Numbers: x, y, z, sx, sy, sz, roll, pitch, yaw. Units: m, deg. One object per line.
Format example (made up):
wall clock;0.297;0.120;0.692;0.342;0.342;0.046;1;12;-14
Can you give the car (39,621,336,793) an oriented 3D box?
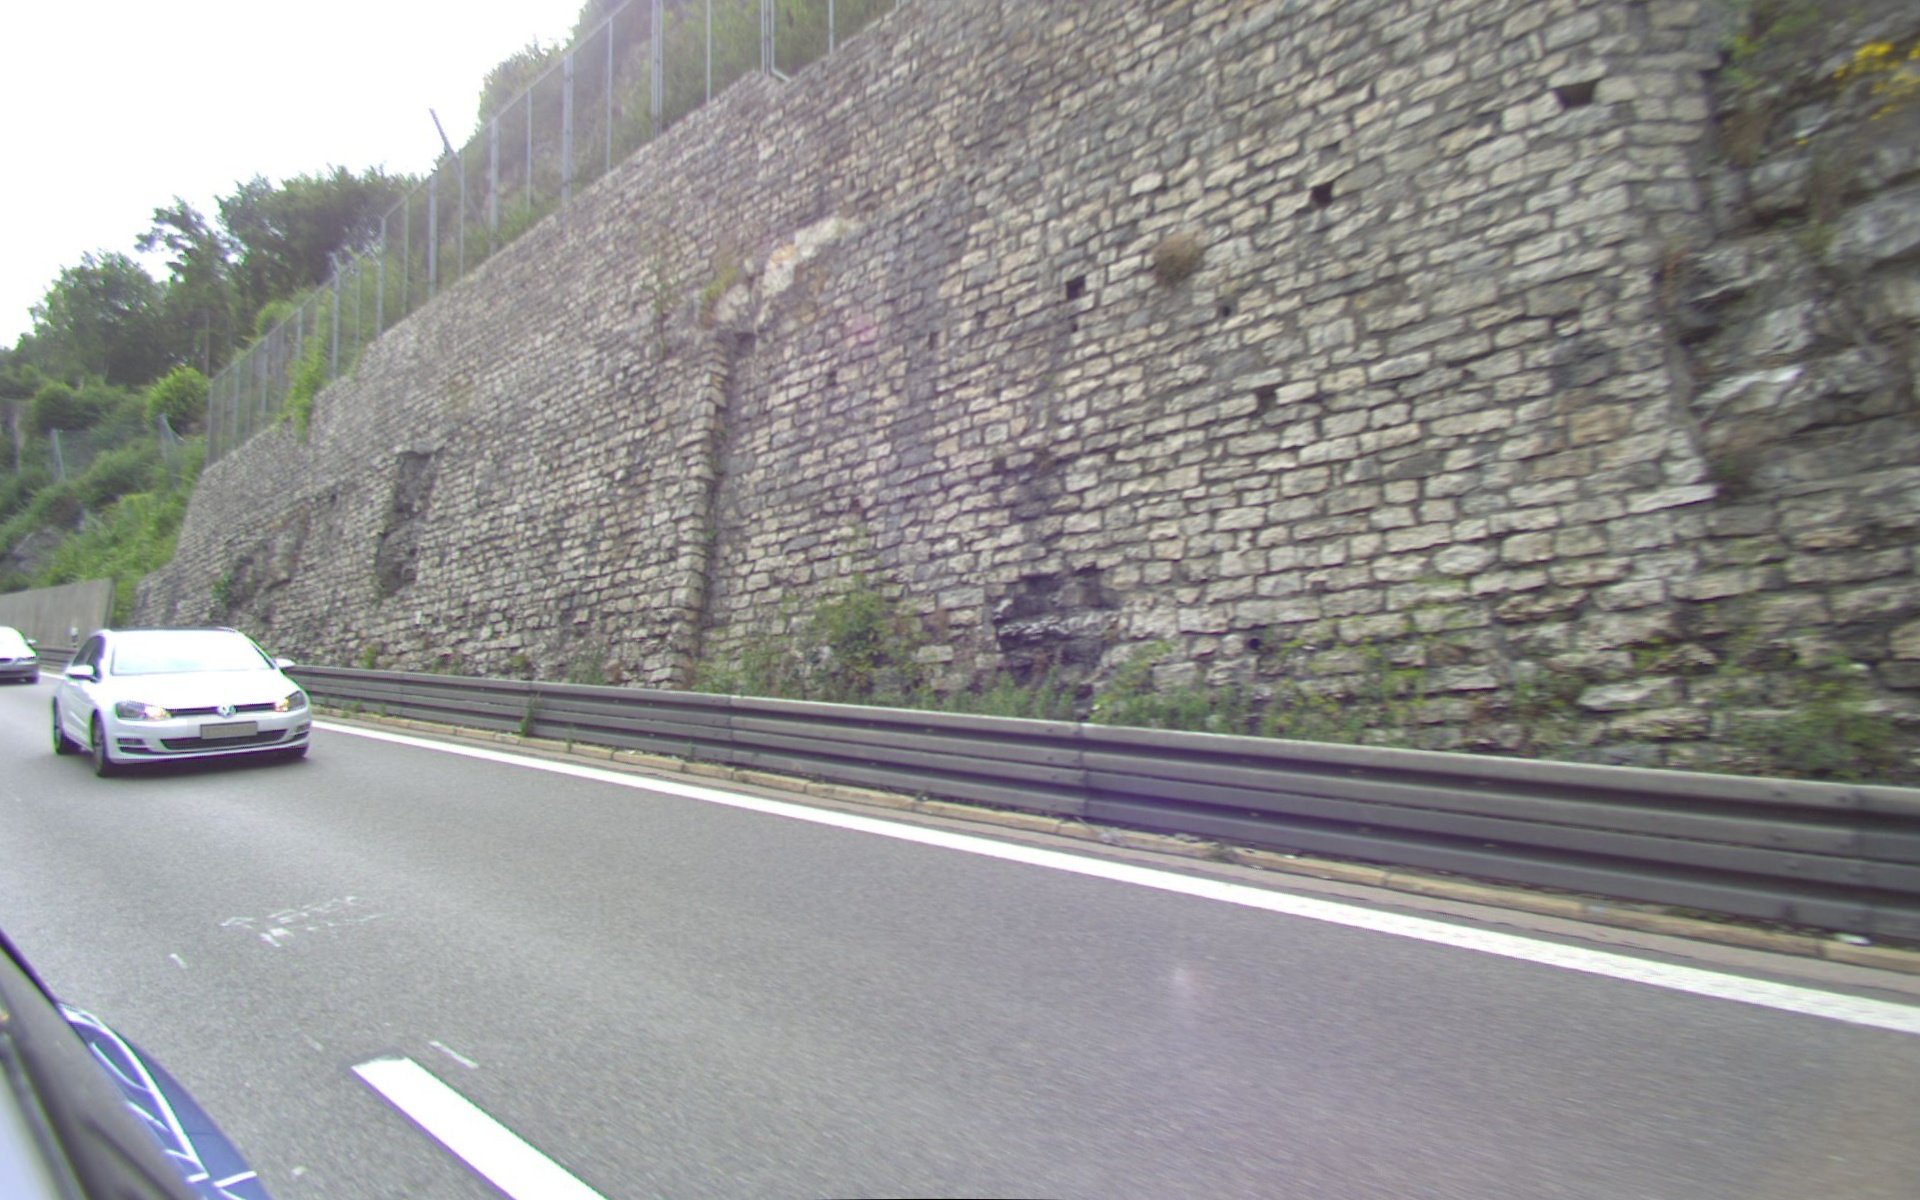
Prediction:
car;-8.638;0.988;11.144;4.627;1.493;1.825;-1;-2;43

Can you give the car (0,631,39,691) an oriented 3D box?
car;-25.531;1.571;26.293;5.133;1.468;1.809;-2;-1;41
